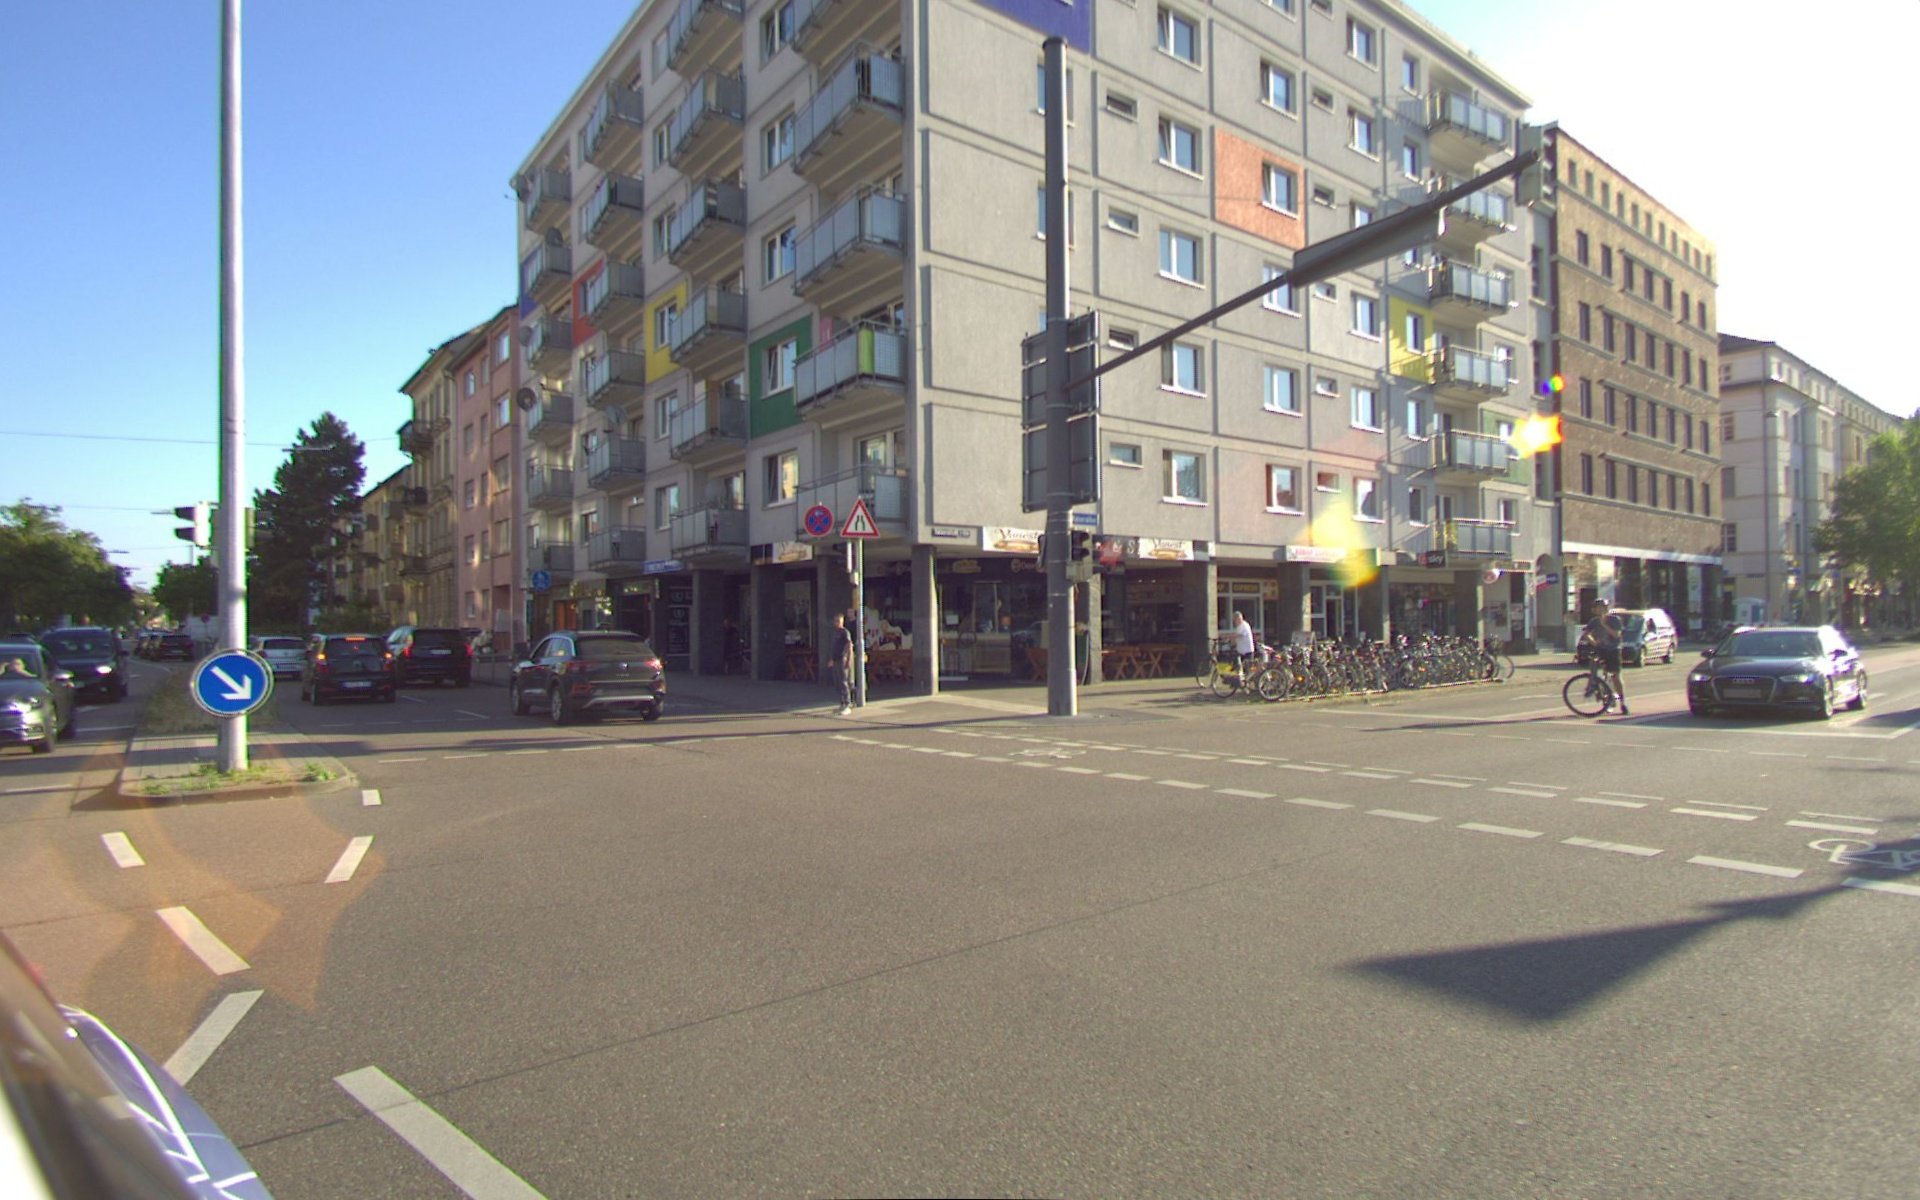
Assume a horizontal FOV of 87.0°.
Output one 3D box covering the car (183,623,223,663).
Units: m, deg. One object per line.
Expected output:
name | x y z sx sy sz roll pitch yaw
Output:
car | -53.453 3.023 71.411 2.103 2.777 4.475 2 -3 -38

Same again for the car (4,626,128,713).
car | -21.185 1.578 24.145 1.866 1.868 4.475 2 -3 -38

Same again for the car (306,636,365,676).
car | -25.559 2.283 41.380 1.653 1.556 3.645 2 -3 -38

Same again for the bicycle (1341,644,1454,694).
bicycle | 10.064 1.560 23.366 0.725 1.059 2.304 0 -2 -38

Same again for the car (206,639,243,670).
car | -38.727 2.863 53.259 1.515 1.605 2.814 2 -3 -37

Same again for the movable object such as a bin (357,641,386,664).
movable object such as a bin | -32.948 2.932 56.671 0.840 1.242 1.189 -1 -2 12

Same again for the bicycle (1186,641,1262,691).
bicycle | 6.020 1.480 22.993 2.033 1.100 0.521 1 -3 -38

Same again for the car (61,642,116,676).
car | -44.066 2.971 51.232 1.877 1.552 4.008 0 -1 -38

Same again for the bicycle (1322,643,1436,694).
bicycle | 9.439 1.511 22.878 0.725 1.059 2.304 0 -2 -38

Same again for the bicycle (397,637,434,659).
bicycle | -30.189 2.658 56.133 1.753 1.200 0.474 0 -2 -40

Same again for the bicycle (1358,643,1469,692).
bicycle | 10.673 1.568 23.890 0.725 1.059 2.304 0 -2 -38

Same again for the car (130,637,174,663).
car | -51.221 3.163 64.126 1.700 1.641 4.104 2 -4 -45

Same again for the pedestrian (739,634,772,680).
pedestrian | -6.107 1.691 30.208 0.801 1.323 0.624 -1 -2 9

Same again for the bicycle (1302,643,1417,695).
bicycle | 8.821 1.494 22.429 0.725 1.059 2.304 0 -2 -38

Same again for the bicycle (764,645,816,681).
bicycle | -4.997 1.837 29.726 1.698 1.006 0.617 -2 -2 44

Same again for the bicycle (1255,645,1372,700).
bicycle | 7.458 1.496 21.439 0.725 1.059 2.304 0 -2 -38

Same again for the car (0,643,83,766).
car | -13.247 1.371 13.712 1.743 1.470 4.278 -1 -1 -37

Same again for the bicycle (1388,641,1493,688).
bicycle | 11.662 1.547 24.650 0.553 1.059 2.304 0 -2 -38

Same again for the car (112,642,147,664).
car | -59.272 3.774 72.171 1.573 1.482 3.988 2 -3 -44

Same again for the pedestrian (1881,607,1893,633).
pedestrian | 61.788 1.354 67.464 0.541 1.721 0.492 0 -1 -38

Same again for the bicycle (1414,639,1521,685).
bicycle | 12.744 1.530 25.464 0.725 1.059 2.304 0 -2 -38

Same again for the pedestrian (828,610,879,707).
pedestrian | -2.149 1.161 20.434 0.600 1.889 0.814 -3 0 -37

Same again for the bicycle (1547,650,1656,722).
bicycle | 10.694 1.400 16.862 1.753 1.106 0.953 1 -3 -37

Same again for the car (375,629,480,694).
car | -15.537 1.745 29.403 1.793 1.724 4.794 2 -3 -39

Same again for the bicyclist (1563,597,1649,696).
bicyclist | 10.861 0.785 17.027 0.726 1.610 0.965 1 -3 -37

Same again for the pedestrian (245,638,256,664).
pedestrian | -44.572 3.215 63.562 0.568 1.612 0.482 0 -2 -37

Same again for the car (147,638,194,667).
car | -44.384 2.942 56.867 1.655 1.556 4.106 2 -4 -43

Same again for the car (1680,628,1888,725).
car | 13.401 1.146 16.387 4.134 1.322 1.804 0 -2 -39

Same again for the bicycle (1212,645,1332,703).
bicycle | 6.249 1.451 20.408 0.725 1.059 2.304 0 -2 -38

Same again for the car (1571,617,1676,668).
car | 21.244 1.328 32.367 3.937 1.519 1.699 0 -2 -40

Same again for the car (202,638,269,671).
car | -32.745 2.446 45.705 4.103 1.436 1.689 -3 -4 44

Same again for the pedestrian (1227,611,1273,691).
pedestrian | 6.470 1.130 22.600 0.600 1.735 0.686 -3 0 -38

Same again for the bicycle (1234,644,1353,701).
bicycle | 6.860 1.468 20.931 0.725 1.059 2.304 0 -2 -38

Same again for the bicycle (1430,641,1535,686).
bicycle | 13.366 1.603 25.955 0.725 1.059 2.304 0 -2 -38

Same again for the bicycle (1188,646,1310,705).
bicycle | 5.636 1.452 19.897 0.725 1.059 2.304 0 -2 -38

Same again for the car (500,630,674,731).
car | -6.777 1.373 18.132 1.771 1.577 4.156 1 -3 -38

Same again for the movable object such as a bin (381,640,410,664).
movable object such as a bin | -31.196 2.870 55.954 0.840 1.242 1.189 -1 -2 12

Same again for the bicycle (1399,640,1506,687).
bicycle | 12.123 1.541 24.992 0.637 1.059 2.304 0 -2 -38

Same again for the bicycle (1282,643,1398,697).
bicycle | 8.197 1.493 21.956 0.725 1.059 2.304 0 -2 -38

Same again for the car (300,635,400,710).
car | -13.887 1.596 22.978 1.557 1.556 3.484 2 -3 -37

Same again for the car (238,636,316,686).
car | -22.773 2.010 33.699 1.655 1.556 3.811 2 -4 -41

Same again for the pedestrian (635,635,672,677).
pedestrian | -10.269 1.859 33.899 0.959 1.357 0.884 0 -2 -38

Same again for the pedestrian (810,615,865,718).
pedestrian | -2.239 1.203 18.505 0.600 1.800 0.814 -3 0 -34

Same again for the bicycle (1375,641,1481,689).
bicycle | 11.202 1.539 24.291 0.553 1.059 2.304 0 -2 -38

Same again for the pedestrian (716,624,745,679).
pedestrian | -7.058 1.585 31.139 0.653 1.685 0.622 -1 -2 17
